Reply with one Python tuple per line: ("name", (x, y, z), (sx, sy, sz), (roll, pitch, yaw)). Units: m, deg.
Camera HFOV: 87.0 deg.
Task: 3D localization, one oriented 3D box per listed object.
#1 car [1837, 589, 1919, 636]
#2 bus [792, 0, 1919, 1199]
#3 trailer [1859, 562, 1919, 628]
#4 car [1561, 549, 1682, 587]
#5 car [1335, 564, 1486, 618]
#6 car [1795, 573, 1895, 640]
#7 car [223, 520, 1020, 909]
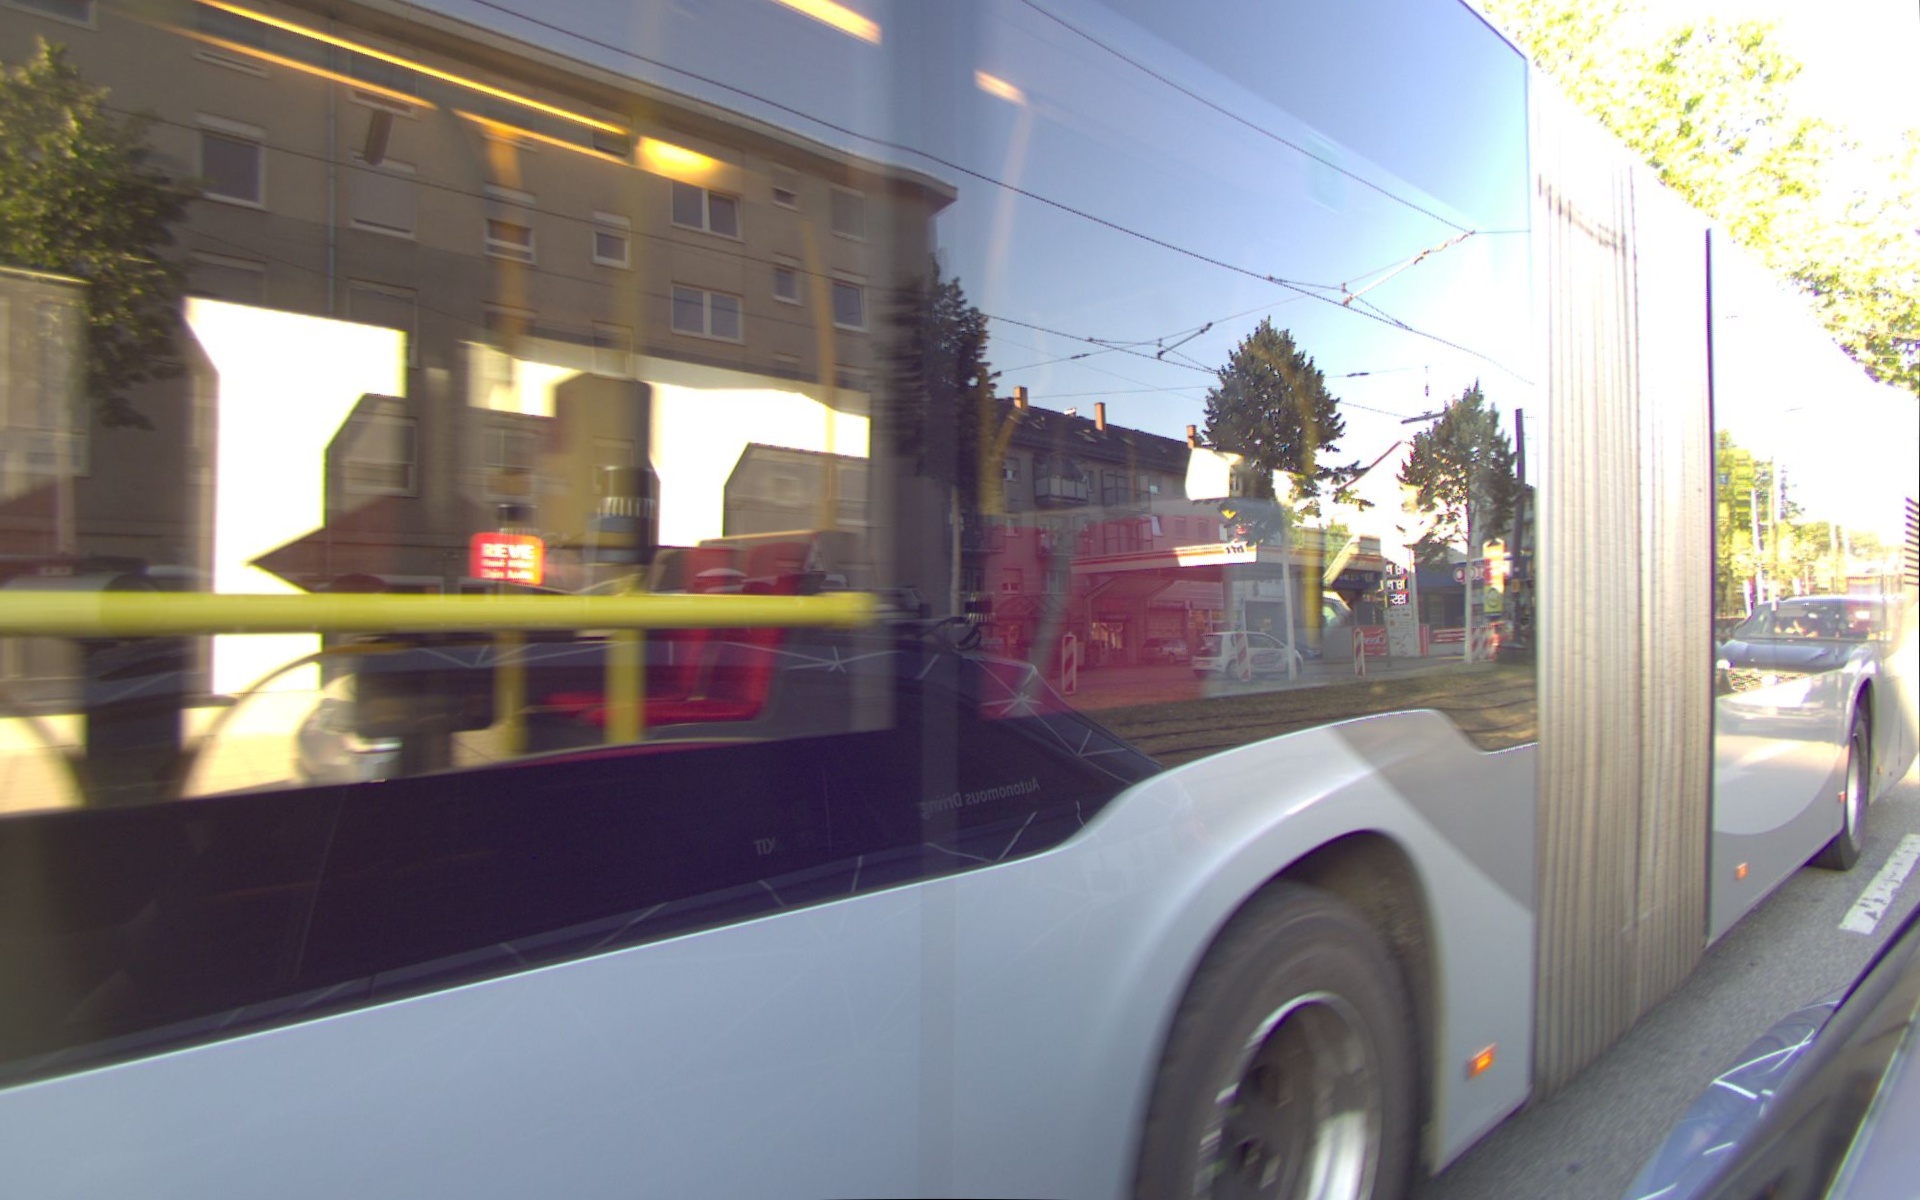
("car", (34.987, 0.451, 38.546), (3.930, 1.650, 1.799), (0, 2, -41))
("bus", (3.499, -0.136, 5.910), (8.698, 3.094, 2.743), (0, 1, -41))
("trailer", (39.867, -0.217, 42.993), (4.569, 2.620, 1.889), (0, 2, -41))
("car", (29.118, -1.364, 44.641), (1.770, 1.570, 4.120), (0, 0, -39))
("car", (14.271, -0.242, 32.219), (1.824, 1.621, 4.027), (0, -1, -41))
("car", (30.080, 0.183, 34.351), (4.483, 2.104, 1.888), (0, 2, -41))
("car", (-1.787, 0.419, 6.094), (4.155, 1.555, 1.842), (0, 2, -41))
